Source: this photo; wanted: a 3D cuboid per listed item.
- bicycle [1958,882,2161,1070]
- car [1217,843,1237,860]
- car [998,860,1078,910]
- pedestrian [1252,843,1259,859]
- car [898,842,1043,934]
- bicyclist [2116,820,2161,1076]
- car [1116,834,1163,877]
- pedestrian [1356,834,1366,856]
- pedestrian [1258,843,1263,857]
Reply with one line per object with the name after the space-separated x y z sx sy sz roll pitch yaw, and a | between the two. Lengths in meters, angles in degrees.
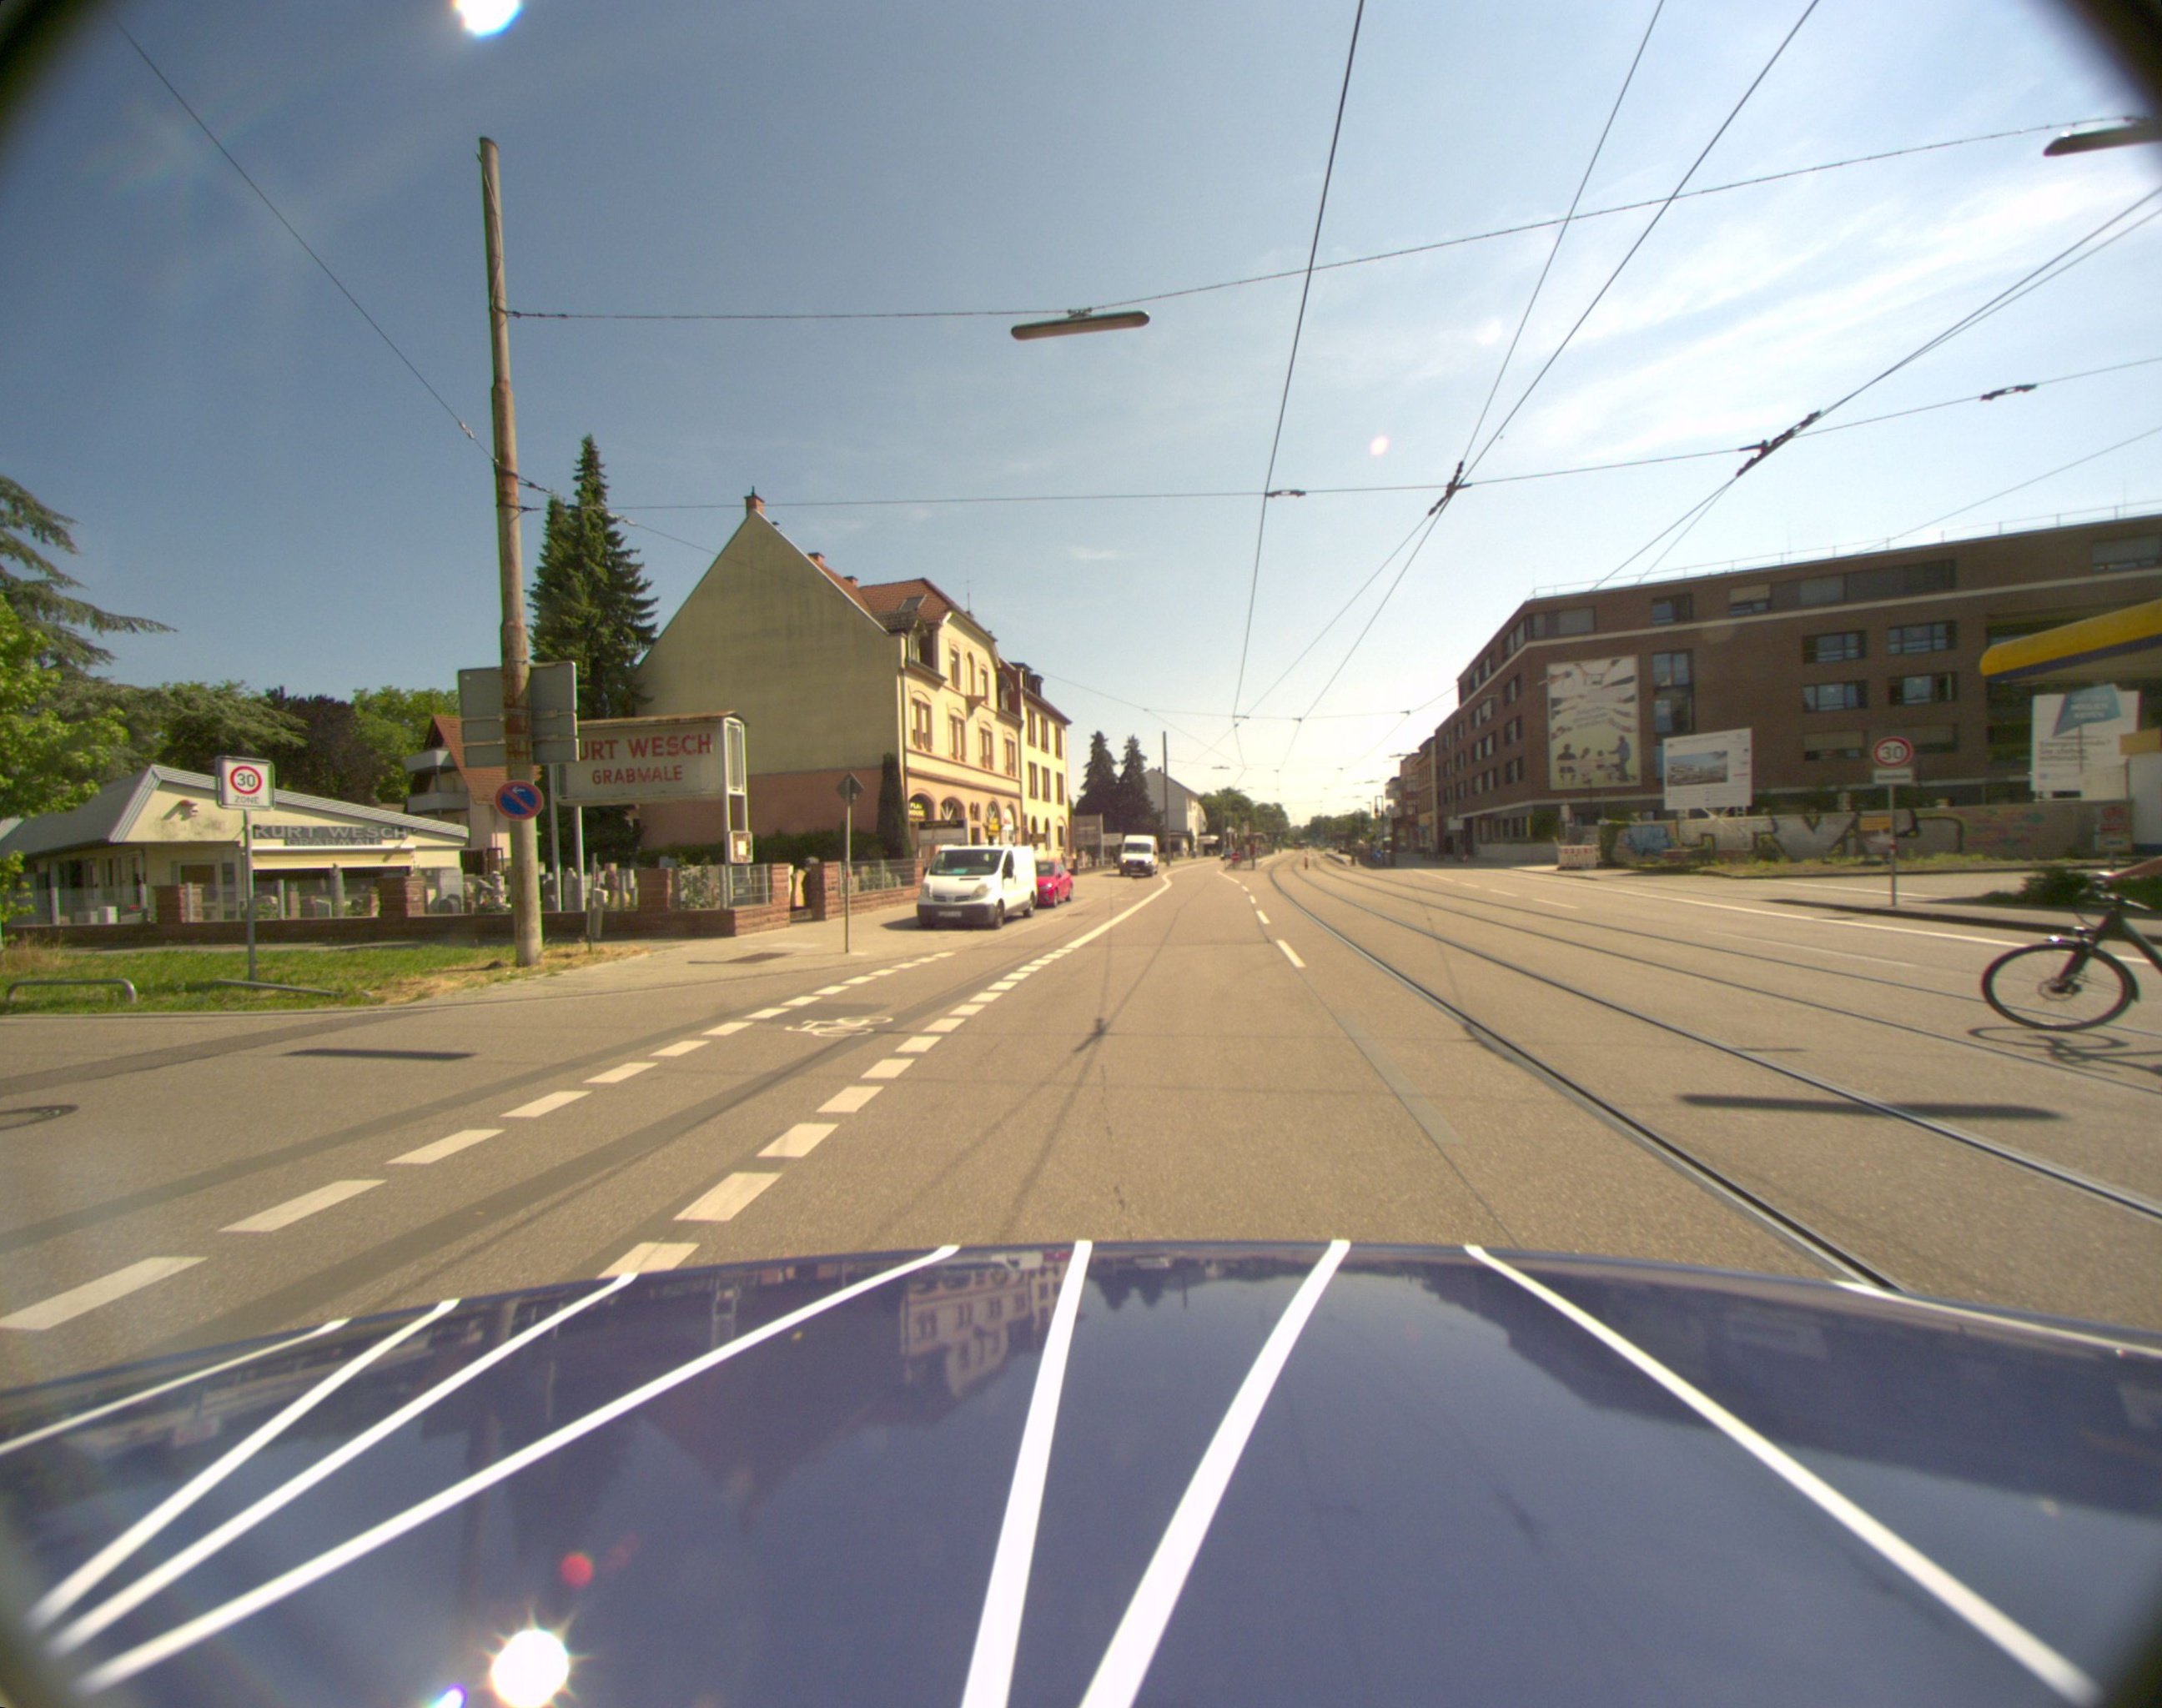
7.390 0.804 4.964 0.613 1.190 2.118 -3 1 -36 | bicycle
18.096 -0.315 94.314 1.996 2.002 4.004 -2 1 16 | car
-1.329 0.973 25.072 1.723 1.398 4.004 -2 0 10 | car
18.255 -0.352 79.546 0.706 1.680 0.416 -2 1 9 | pedestrian
-2.554 0.723 19.053 2.087 2.002 4.912 0 1 11 | car
7.272 0.569 4.706 0.908 1.586 0.962 -3 1 -40 | bicyclist
3.810 0.056 48.377 2.333 2.521 6.511 0 1 10 | car
22.394 -0.712 60.753 0.557 1.750 0.794 -2 1 10 | pedestrian
21.217 -0.441 89.934 0.416 1.680 0.707 -2 1 3 | pedestrian
